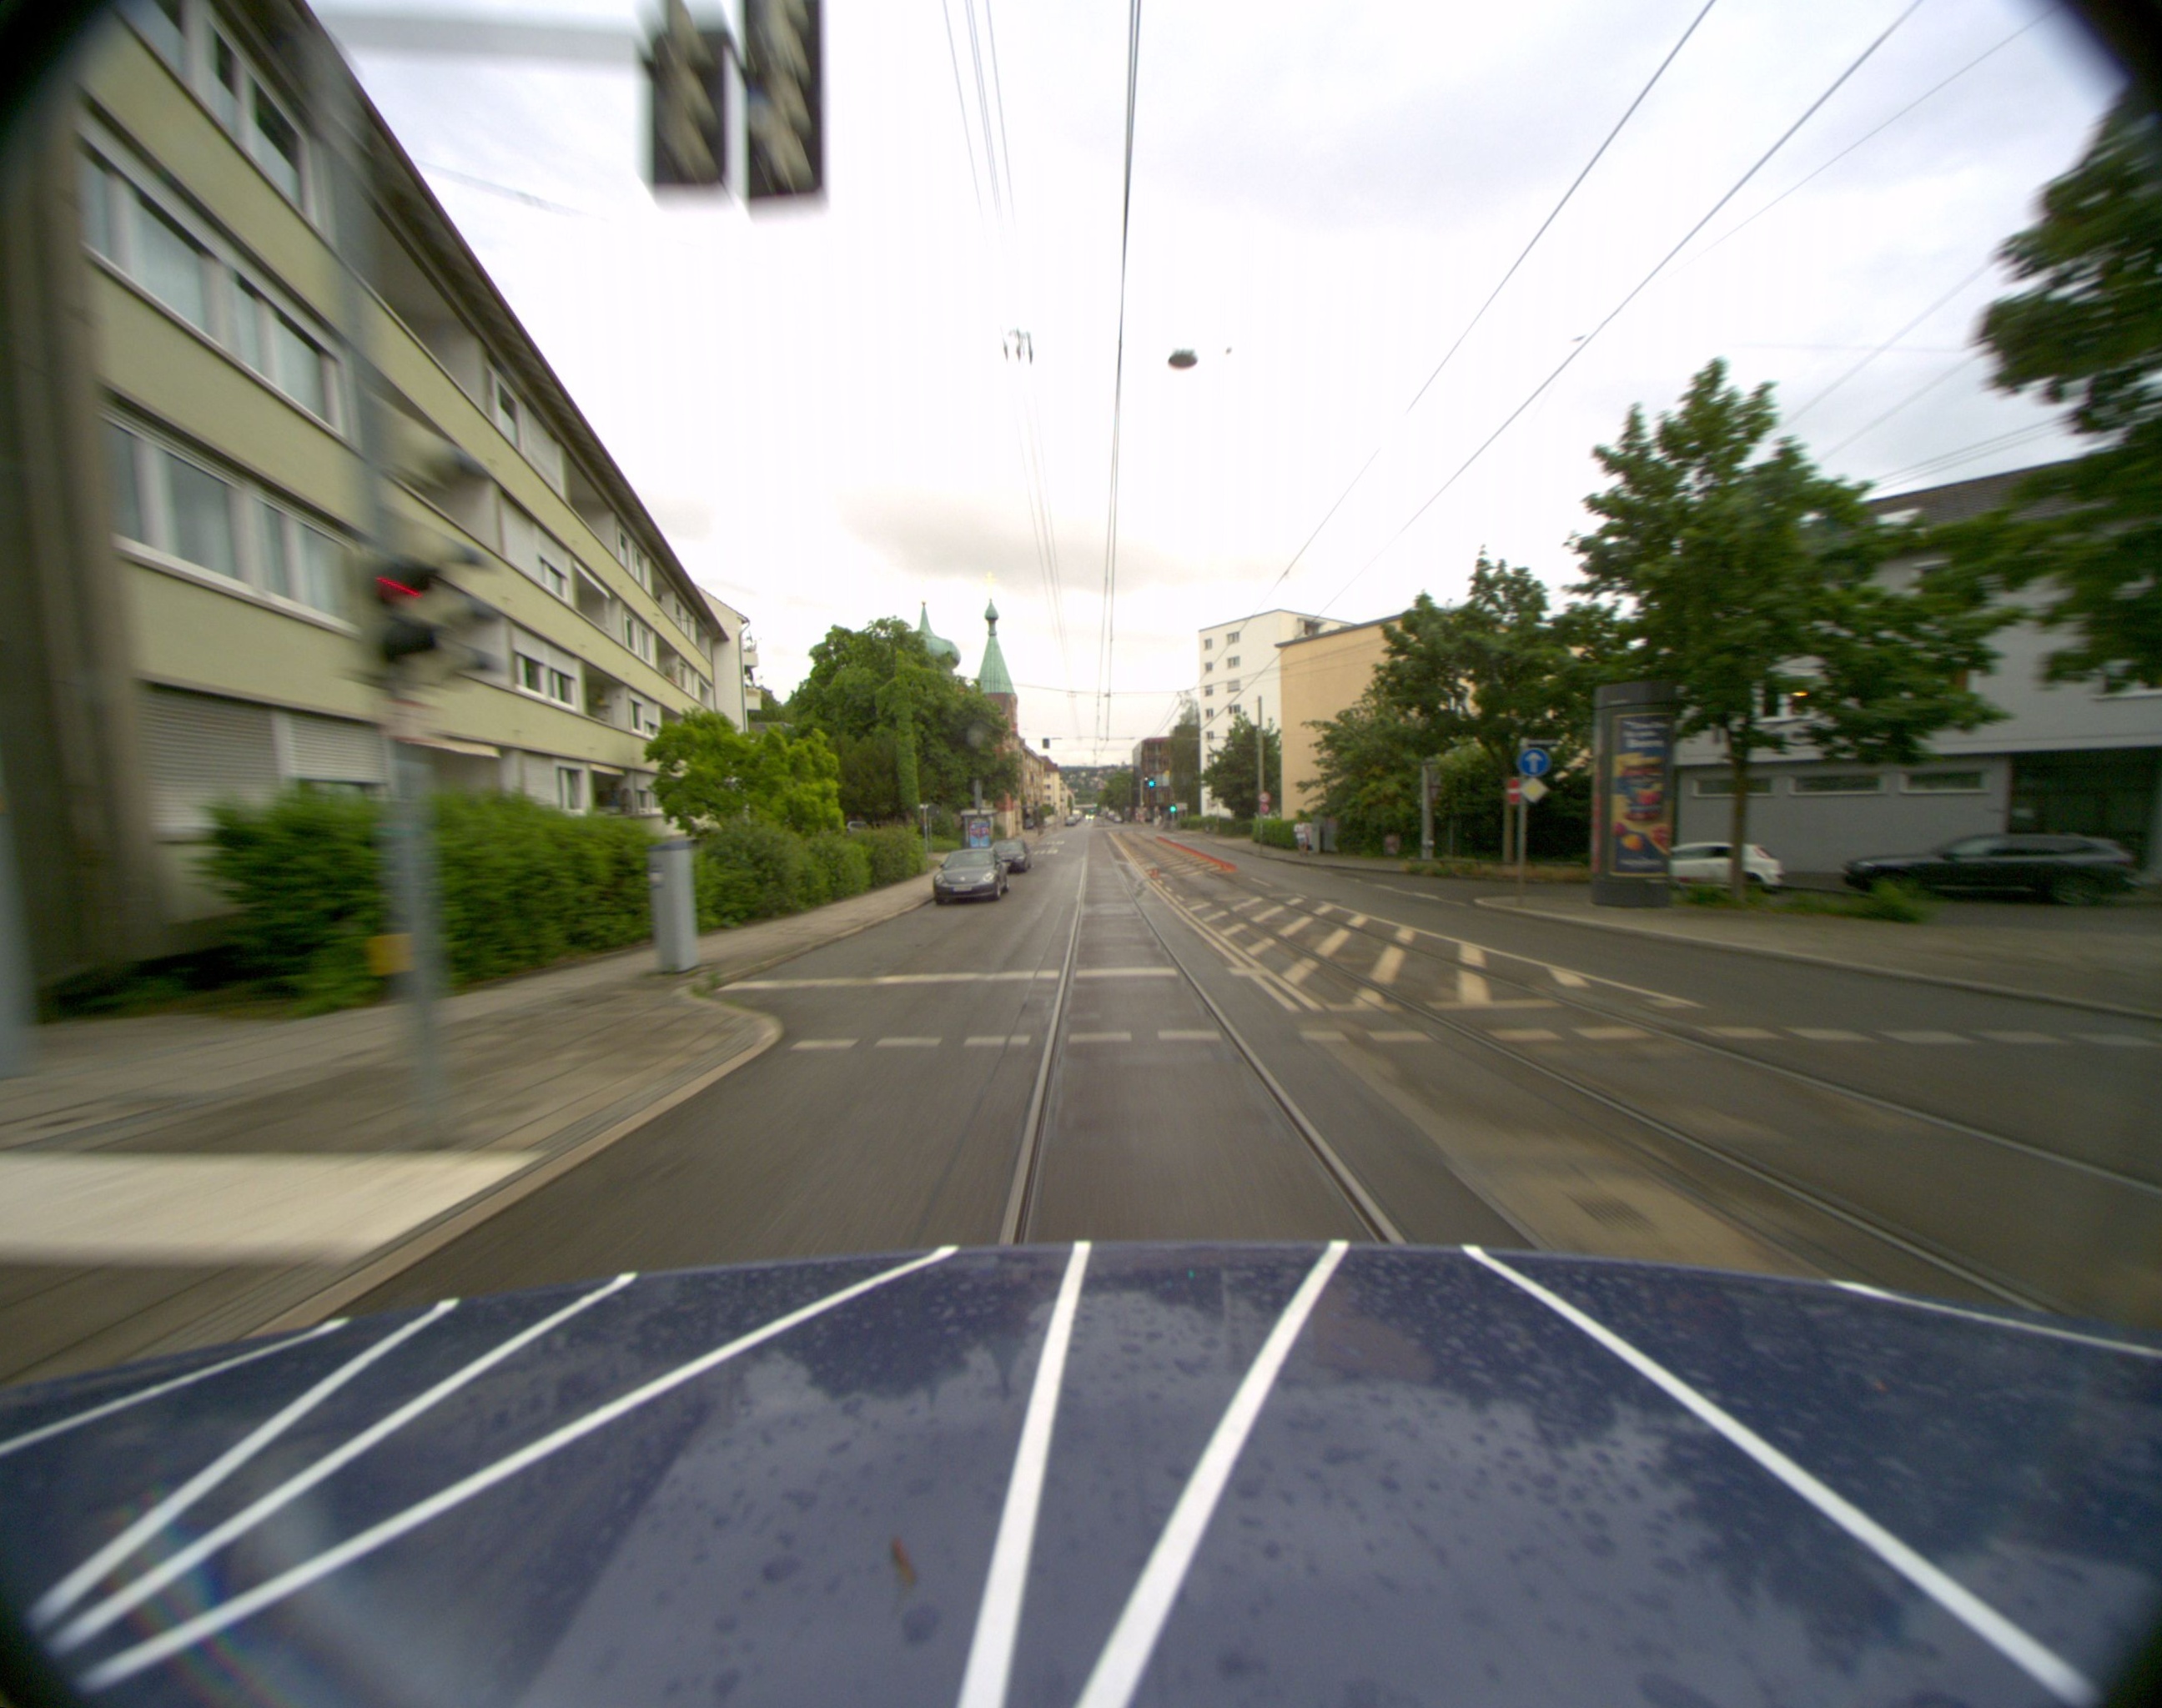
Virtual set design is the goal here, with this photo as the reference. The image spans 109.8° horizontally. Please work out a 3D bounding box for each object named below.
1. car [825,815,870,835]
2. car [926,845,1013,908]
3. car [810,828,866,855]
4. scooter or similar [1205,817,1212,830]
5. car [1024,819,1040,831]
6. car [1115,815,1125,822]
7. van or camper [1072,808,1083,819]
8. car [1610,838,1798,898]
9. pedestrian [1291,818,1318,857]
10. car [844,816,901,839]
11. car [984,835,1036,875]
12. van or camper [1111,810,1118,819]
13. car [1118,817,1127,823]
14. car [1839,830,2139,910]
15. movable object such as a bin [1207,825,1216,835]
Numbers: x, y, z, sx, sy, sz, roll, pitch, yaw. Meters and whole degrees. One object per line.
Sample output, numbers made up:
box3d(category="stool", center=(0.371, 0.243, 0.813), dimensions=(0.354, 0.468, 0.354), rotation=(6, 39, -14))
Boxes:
box3d(category="car", center=(-19.856, -2.479, 64.462), dimensions=(3.983, 1.556, 1.845), rotation=(2, 6, 44))
box3d(category="car", center=(-3.188, 0.576, 22.546), dimensions=(1.945, 1.456, 4.203), rotation=(-3, 3, -1))
box3d(category="car", center=(-16.803, -0.880, 52.493), dimensions=(4.189, 1.686, 1.845), rotation=(2, 6, 44))
box3d(category="scooter or similar", center=(12.270, -2.981, 73.123), dimensions=(0.573, 1.178, 1.599), rotation=(-2, 5, 6))
box3d(category="car", center=(-7.356, -4.414, 114.445), dimensions=(1.858, 1.495, 4.445), rotation=(1, 5, 1))
box3d(category="car", center=(8.320, -7.548, 162.596), dimensions=(1.862, 1.387, 4.642), rotation=(-1, 3, 0))
box3d(category="van or camper", center=(-0.852, -11.471, 214.750), dimensions=(2.753, 3.042, 7.025), rotation=(-2, 4, 2))
box3d(category="car", center=(18.748, 0.353, 22.983), dimensions=(2.003, 1.473, 4.147), rotation=(-7, 6, -43))
box3d(category="pedestrian", center=(11.073, -0.808, 37.676), dimensions=(0.921, 1.836, 1.016), rotation=(-3, 4, -4))
box3d(category="car", center=(-15.099, -1.935, 54.911), dimensions=(4.371, 1.550, 1.845), rotation=(2, 5, 42))
box3d(category="car", center=(-3.093, -0.033, 34.110), dimensions=(1.862, 1.479, 4.642), rotation=(-2, 3, 0))
box3d(category="van or camper", center=(10.250, -12.200, 233.967), dimensions=(2.143, 2.589, 5.546), rotation=(-2, 4, 2))
box3d(category="car", center=(9.680, -8.003, 178.120), dimensions=(1.727, 1.456, 4.327), rotation=(-1, 3, -3))
box3d(category="car", center=(22.387, 0.290, 19.122), dimensions=(4.626, 1.697, 1.845), rotation=(2, 6, 44))
box3d(category="movable object such as a bin", center=(12.867, -2.350, 75.063), dimensions=(0.688, 0.877, 0.759), rotation=(-3, 5, -4))
